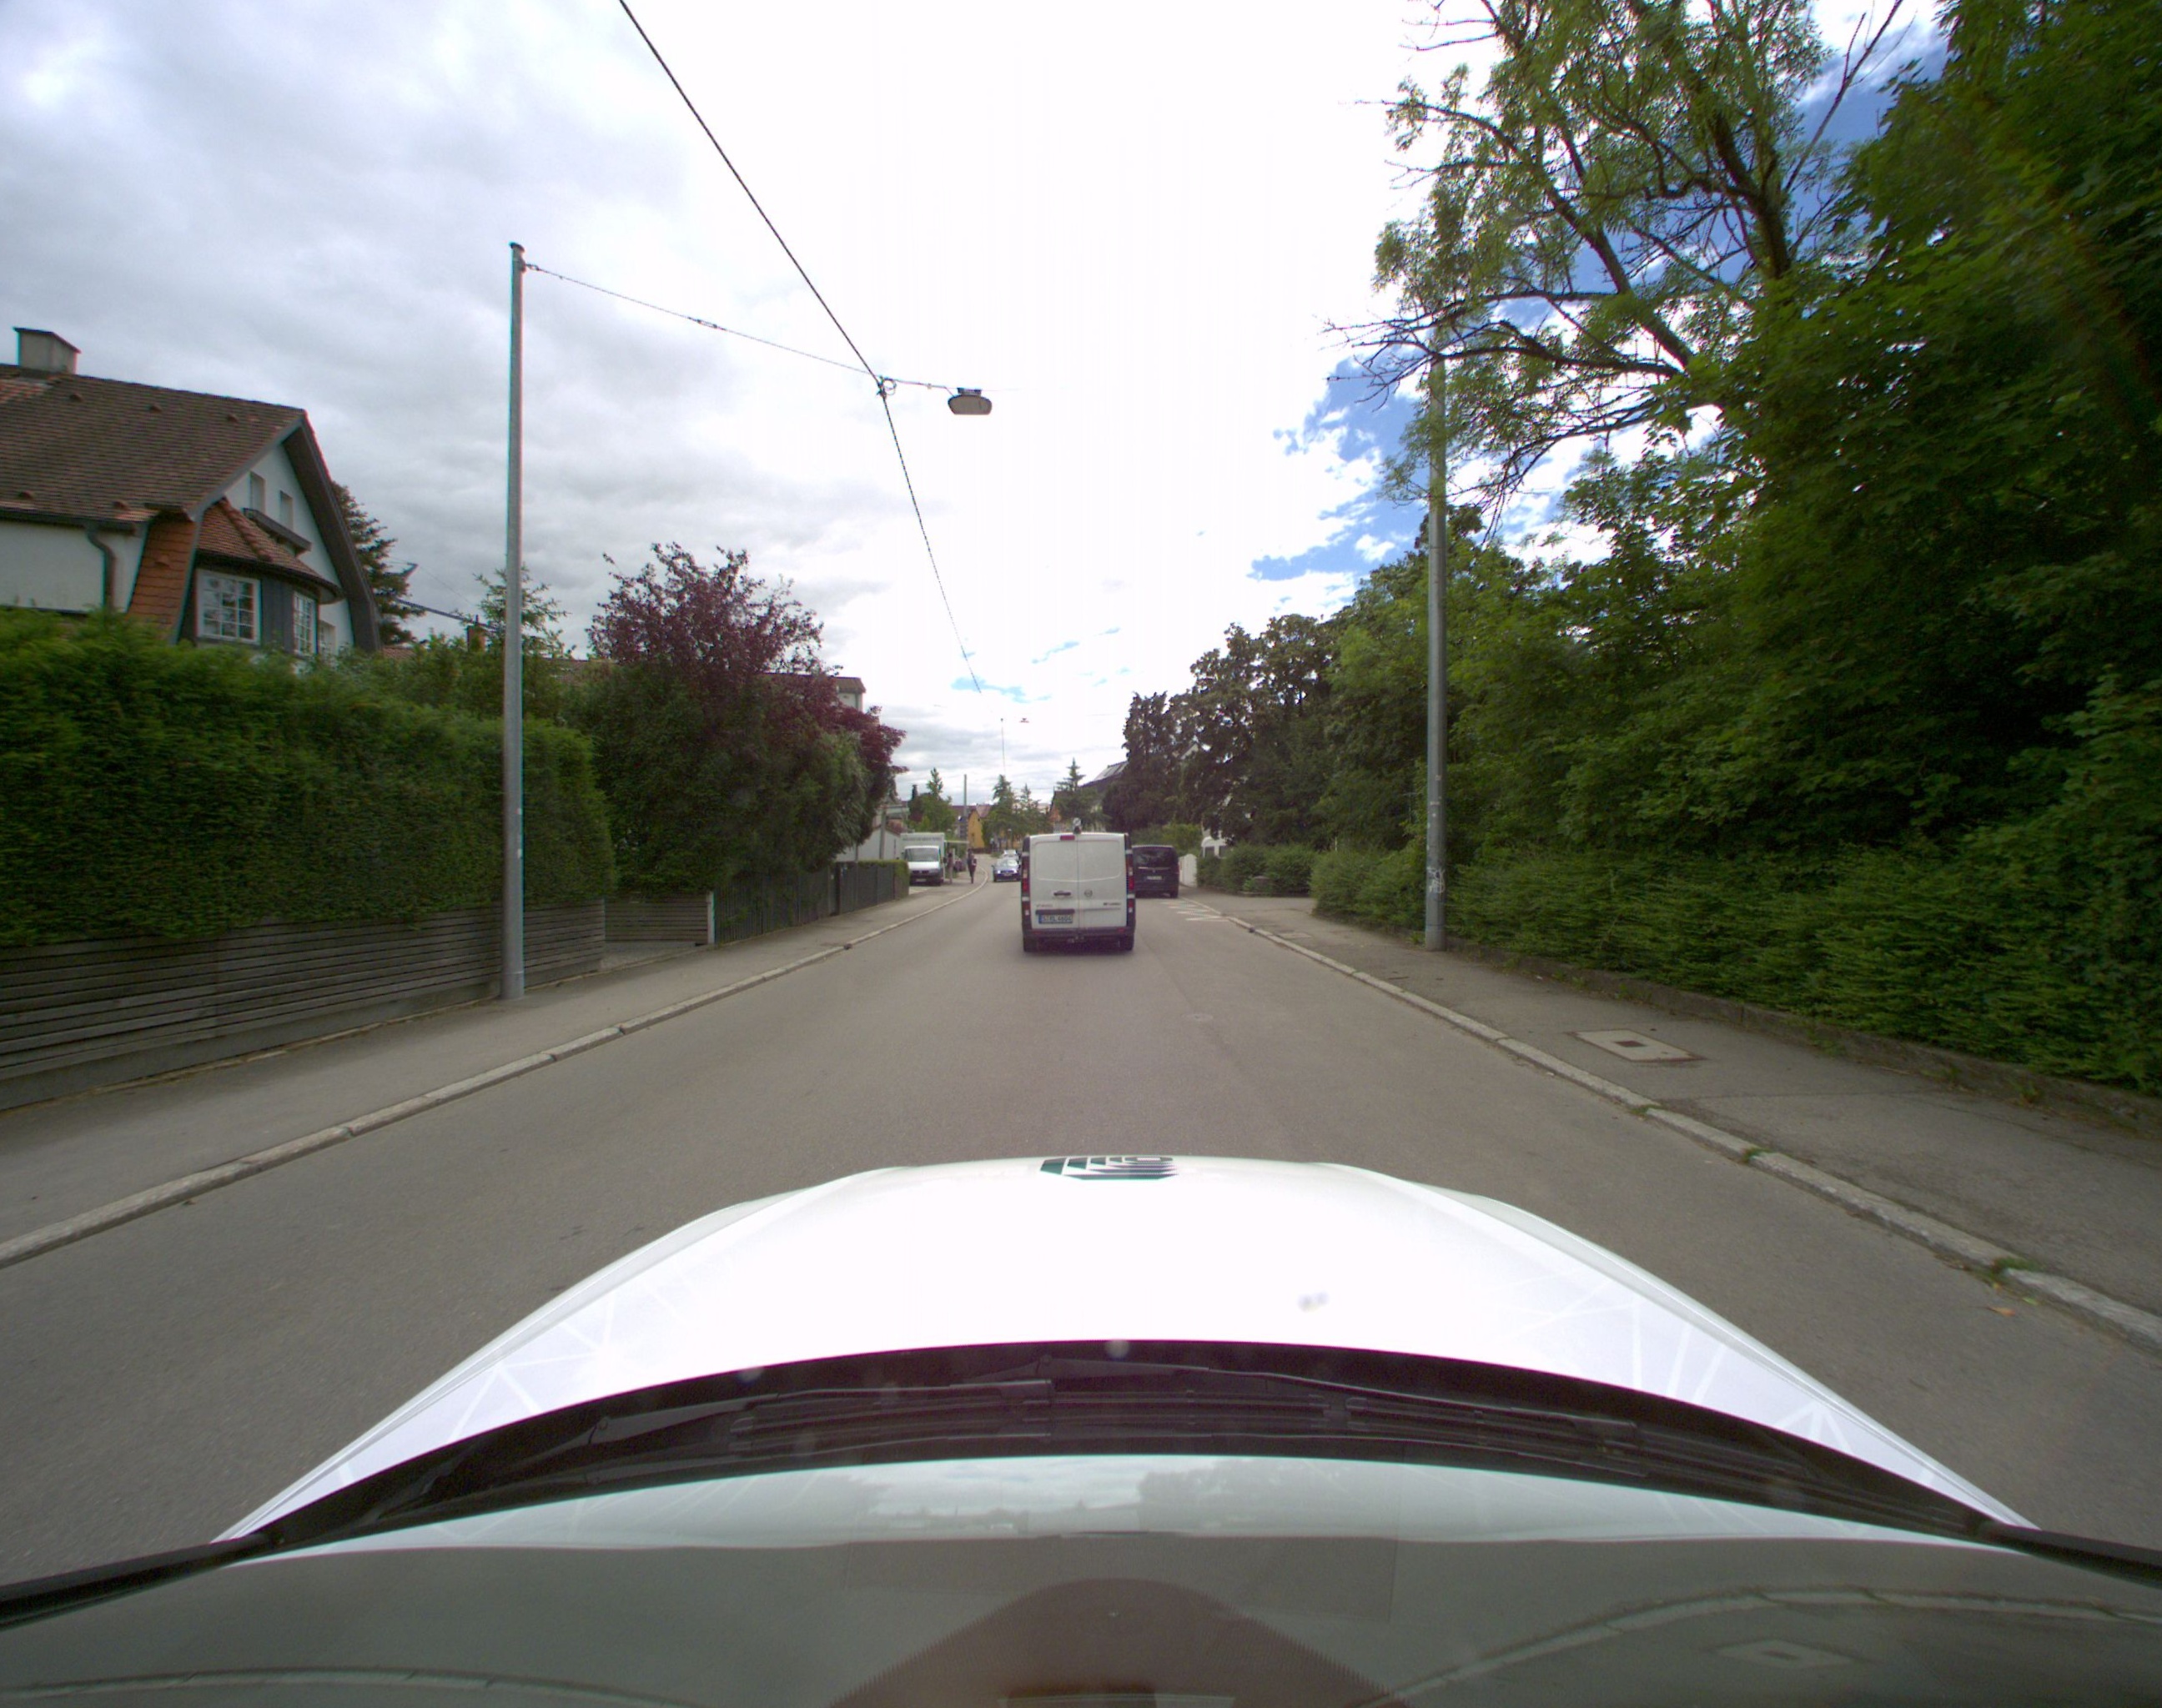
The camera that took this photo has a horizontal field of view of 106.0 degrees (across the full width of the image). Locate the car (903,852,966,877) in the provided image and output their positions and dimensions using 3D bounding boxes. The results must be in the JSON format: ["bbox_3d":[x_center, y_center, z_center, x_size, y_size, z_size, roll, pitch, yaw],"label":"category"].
[{"bbox_3d":[-10.808,0.773,60.115,4.323,1.695,1.787,2,-1,-18],"label":"car"}]

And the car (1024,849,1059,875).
[{"bbox_3d":[-2.961,0.589,59.877,1.995,1.848,3.984,-1,0,-11],"label":"car"}]

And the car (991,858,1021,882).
[{"bbox_3d":[-4.680,0.977,51.405,1.690,1.432,3.923,1,0,-3],"label":"car"}]

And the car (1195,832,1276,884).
[{"bbox_3d":[8.603,0.213,45.904,2.501,2.682,5.160,2,-1,-15],"label":"car"}]

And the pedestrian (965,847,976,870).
[{"bbox_3d":[-9.410,0.412,69.499,0.731,1.946,1.216,2,-1,-3],"label":"pedestrian"}]

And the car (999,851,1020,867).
[{"bbox_3d":[-8.302,0.611,94.786,1.995,1.782,3.984,-1,0,-11],"label":"car"}]

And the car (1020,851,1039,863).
[{"bbox_3d":[-6.492,0.380,102.179,1.744,1.494,3.637,2,-1,-14],"label":"car"}]

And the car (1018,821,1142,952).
[{"bbox_3d":[-0.169,0.513,14.885,1.912,2.002,4.431,-1,0,-4],"label":"car"}]

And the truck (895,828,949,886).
[{"bbox_3d":[-8.443,0.166,43.815,2.471,2.840,6.688,0,0,-8],"label":"truck"}]

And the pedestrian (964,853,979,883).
[{"bbox_3d":[-6.312,0.785,46.947,0.721,1.687,1.108,2,-1,-3],"label":"pedestrian"}]

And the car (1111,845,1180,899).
[{"bbox_3d":[2.284,0.622,30.387,1.905,1.848,5.151,0,0,-3],"label":"car"}]

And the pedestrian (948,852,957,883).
[{"bbox_3d":[-7.010,0.744,44.368,0.401,1.695,0.595,2,-1,-9],"label":"pedestrian"}]
